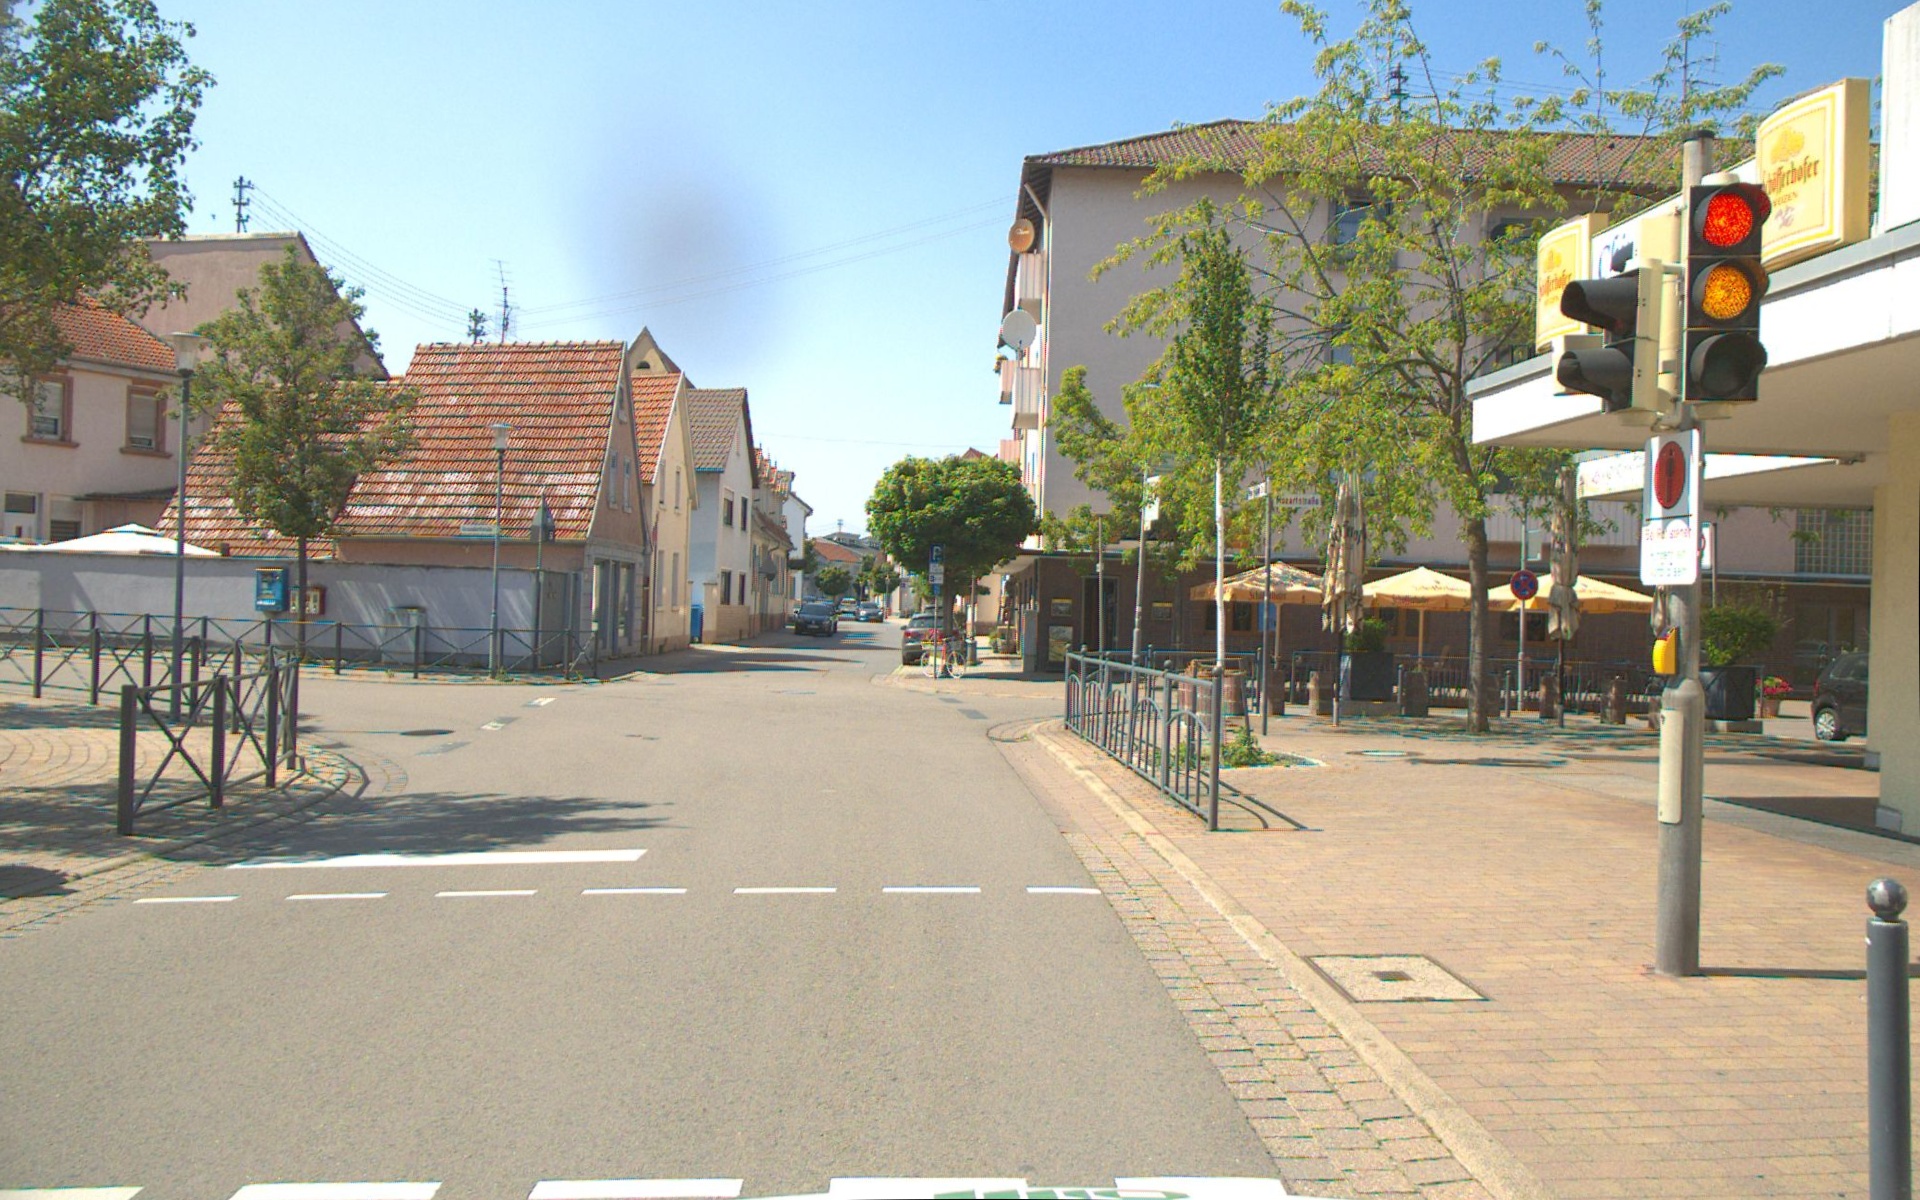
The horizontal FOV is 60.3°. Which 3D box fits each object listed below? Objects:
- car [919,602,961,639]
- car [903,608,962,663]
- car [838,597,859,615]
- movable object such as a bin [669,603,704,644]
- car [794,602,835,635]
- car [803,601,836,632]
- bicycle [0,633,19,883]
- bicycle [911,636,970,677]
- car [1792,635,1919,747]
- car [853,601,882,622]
[{"bbox_3d":[-0.979,0.998,81.037,2.001,1.718,4.840,1,0,-1],"label":"car"},{"bbox_3d":[-0.745,0.991,47.173,1.543,1.479,3.486,1,-1,1],"label":"car"},{"bbox_3d":[-10.868,0.591,161.580,1.987,1.626,4.504,1,0,-4],"label":"car"},{"bbox_3d":[-9.366,0.808,56.625,1.078,1.389,0.390,1,-1,3],"label":"movable object such as a bin"},{"bbox_3d":[-6.844,0.842,78.083,1.629,1.502,4.133,1,0,-1],"label":"car"},{"bbox_3d":[-7.166,0.832,84.632,1.630,1.502,3.447,1,0,-5],"label":"car"},{"bbox_3d":[-5.810,0.798,8.113,1.956,1.274,0.699,1,-1,-44],"label":"bicycle"},{"bbox_3d":[-0.456,1.320,38.552,1.386,0.913,0.463,0,0,36],"label":"bicycle"},{"bbox_3d":[14.058,1.310,23.903,1.733,1.536,3.965,2,-1,-7],"label":"car"},{"bbox_3d":[-6.900,0.871,123.235,1.872,1.507,4.837,1,-1,-6],"label":"car"}]
